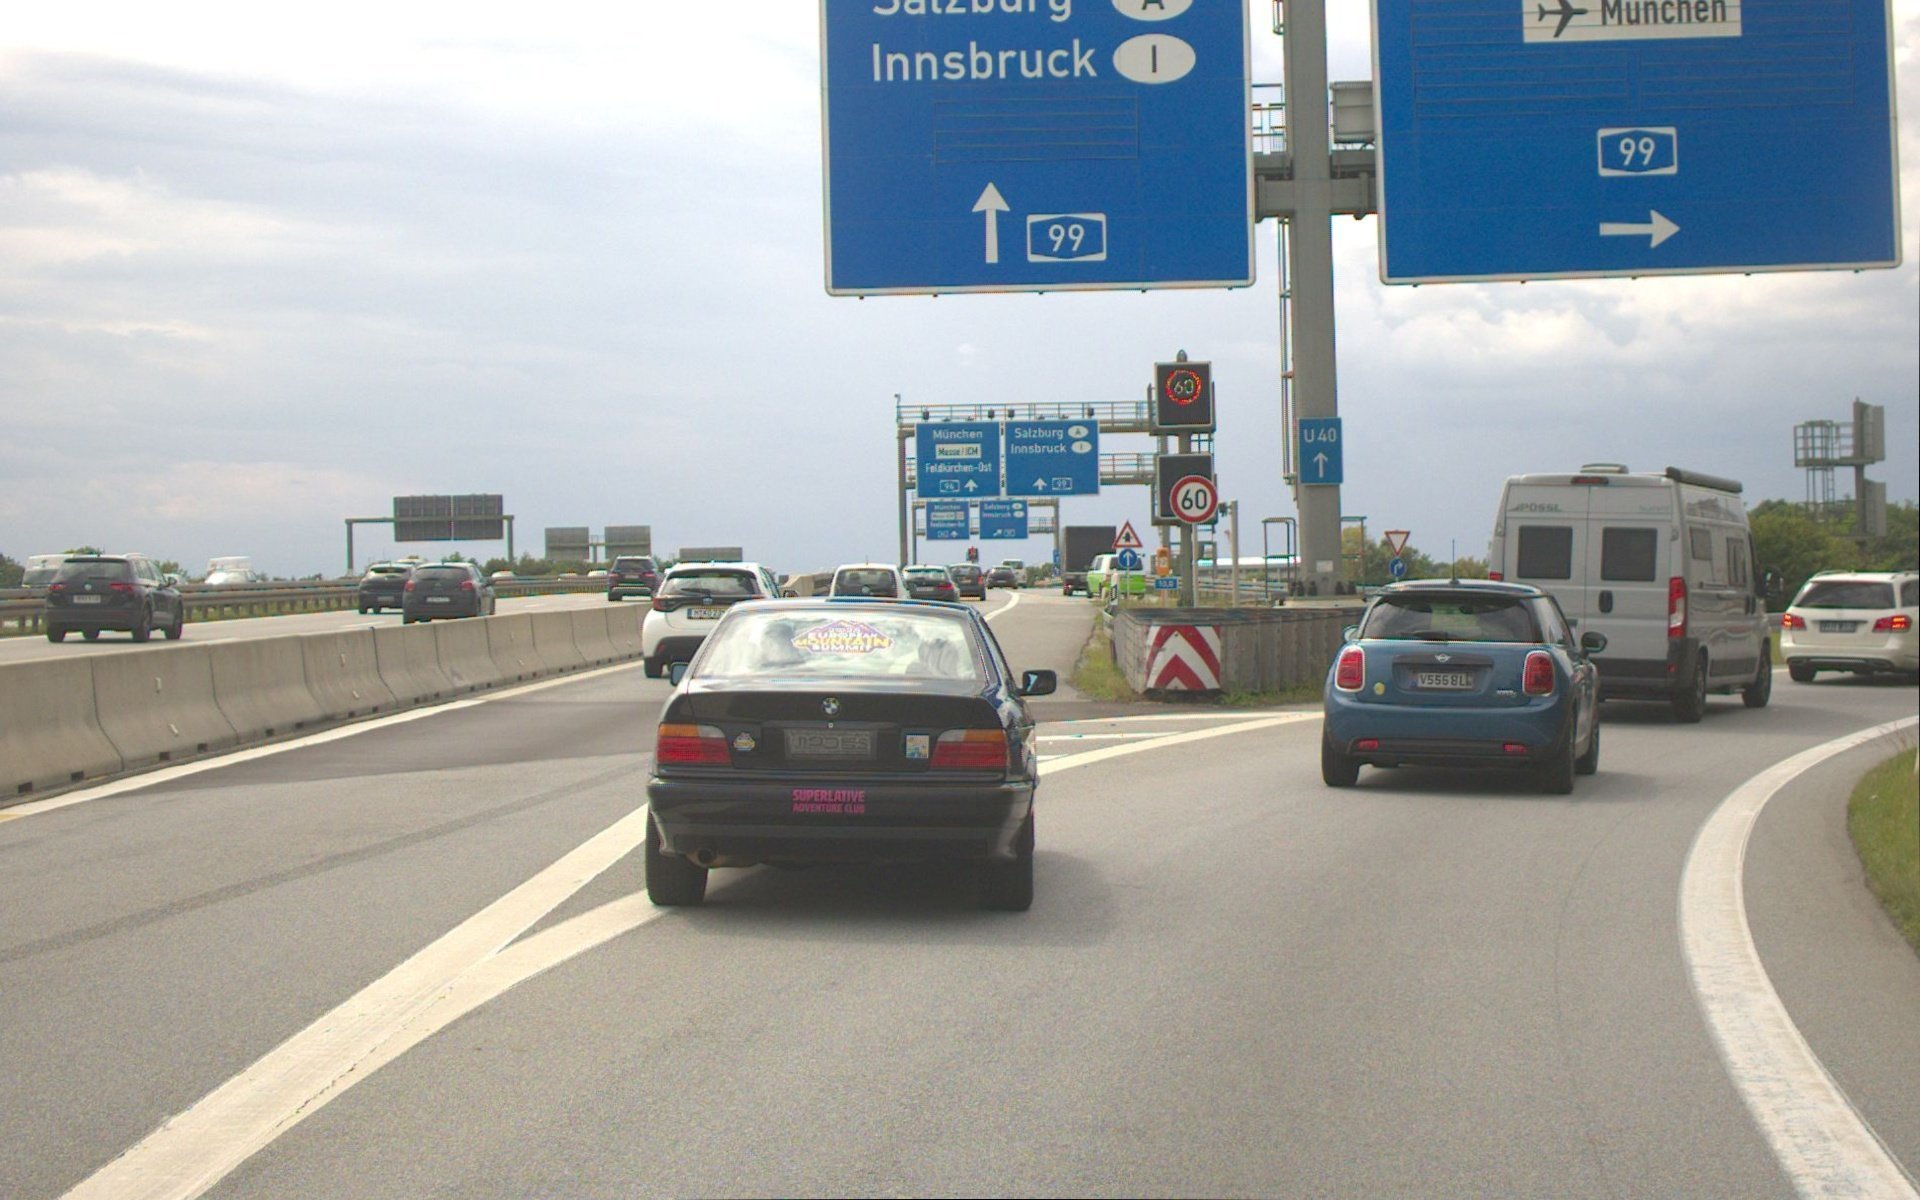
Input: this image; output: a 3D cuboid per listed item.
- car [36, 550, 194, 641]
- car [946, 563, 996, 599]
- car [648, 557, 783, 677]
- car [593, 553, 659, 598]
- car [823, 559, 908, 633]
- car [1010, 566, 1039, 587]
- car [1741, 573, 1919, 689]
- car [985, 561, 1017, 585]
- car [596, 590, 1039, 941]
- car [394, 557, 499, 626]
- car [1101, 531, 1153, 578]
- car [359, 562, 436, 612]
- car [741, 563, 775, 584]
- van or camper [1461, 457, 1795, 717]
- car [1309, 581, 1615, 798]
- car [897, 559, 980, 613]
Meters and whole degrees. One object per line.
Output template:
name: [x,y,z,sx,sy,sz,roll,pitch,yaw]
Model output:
car: [-15.739,-0.101,64.243,1.901,1.633,4.233,0,1,0]
car: [0.446,-0.758,135.290,1.866,1.419,4.000,0,1,1]
car: [-3.239,0.193,45.408,1.701,1.503,3.841,0,1,-4]
car: [-12.921,-0.959,133.210,1.993,1.678,4.866,0,1,1]
car: [-1.928,-0.099,70.962,1.585,1.479,3.535,0,1,1]
car: [4.330,-1.585,229.944,1.803,1.419,4.000,0,1,2]
car: [12.485,0.379,46.746,2.210,1.496,4.779,0,0,32]
car: [2.529,-1.667,209.975,1.803,1.419,4.000,0,1,2]
car: [-0.528,0.664,15.927,1.782,1.373,4.137,0,1,1]
car: [-11.734,-0.214,78.773,1.774,1.525,4.000,0,1,0]
car: [7.220,-1.955,148.828,1.993,2.007,4.000,0,1,-1]
car: [-16.157,-0.386,98.845,1.552,1.371,4.000,0,1,0]
car: [-14.315,-1.888,244.151,1.994,1.463,4.000,0,1,2]
van or camper: [7.316,-0.164,37.053,2.296,2.559,6.153,0,1,23]
car: [3.681,0.585,24.741,1.730,1.414,3.663,1,0,15]
car: [-0.581,-0.415,95.820,1.994,1.463,3.999,0,1,4]
